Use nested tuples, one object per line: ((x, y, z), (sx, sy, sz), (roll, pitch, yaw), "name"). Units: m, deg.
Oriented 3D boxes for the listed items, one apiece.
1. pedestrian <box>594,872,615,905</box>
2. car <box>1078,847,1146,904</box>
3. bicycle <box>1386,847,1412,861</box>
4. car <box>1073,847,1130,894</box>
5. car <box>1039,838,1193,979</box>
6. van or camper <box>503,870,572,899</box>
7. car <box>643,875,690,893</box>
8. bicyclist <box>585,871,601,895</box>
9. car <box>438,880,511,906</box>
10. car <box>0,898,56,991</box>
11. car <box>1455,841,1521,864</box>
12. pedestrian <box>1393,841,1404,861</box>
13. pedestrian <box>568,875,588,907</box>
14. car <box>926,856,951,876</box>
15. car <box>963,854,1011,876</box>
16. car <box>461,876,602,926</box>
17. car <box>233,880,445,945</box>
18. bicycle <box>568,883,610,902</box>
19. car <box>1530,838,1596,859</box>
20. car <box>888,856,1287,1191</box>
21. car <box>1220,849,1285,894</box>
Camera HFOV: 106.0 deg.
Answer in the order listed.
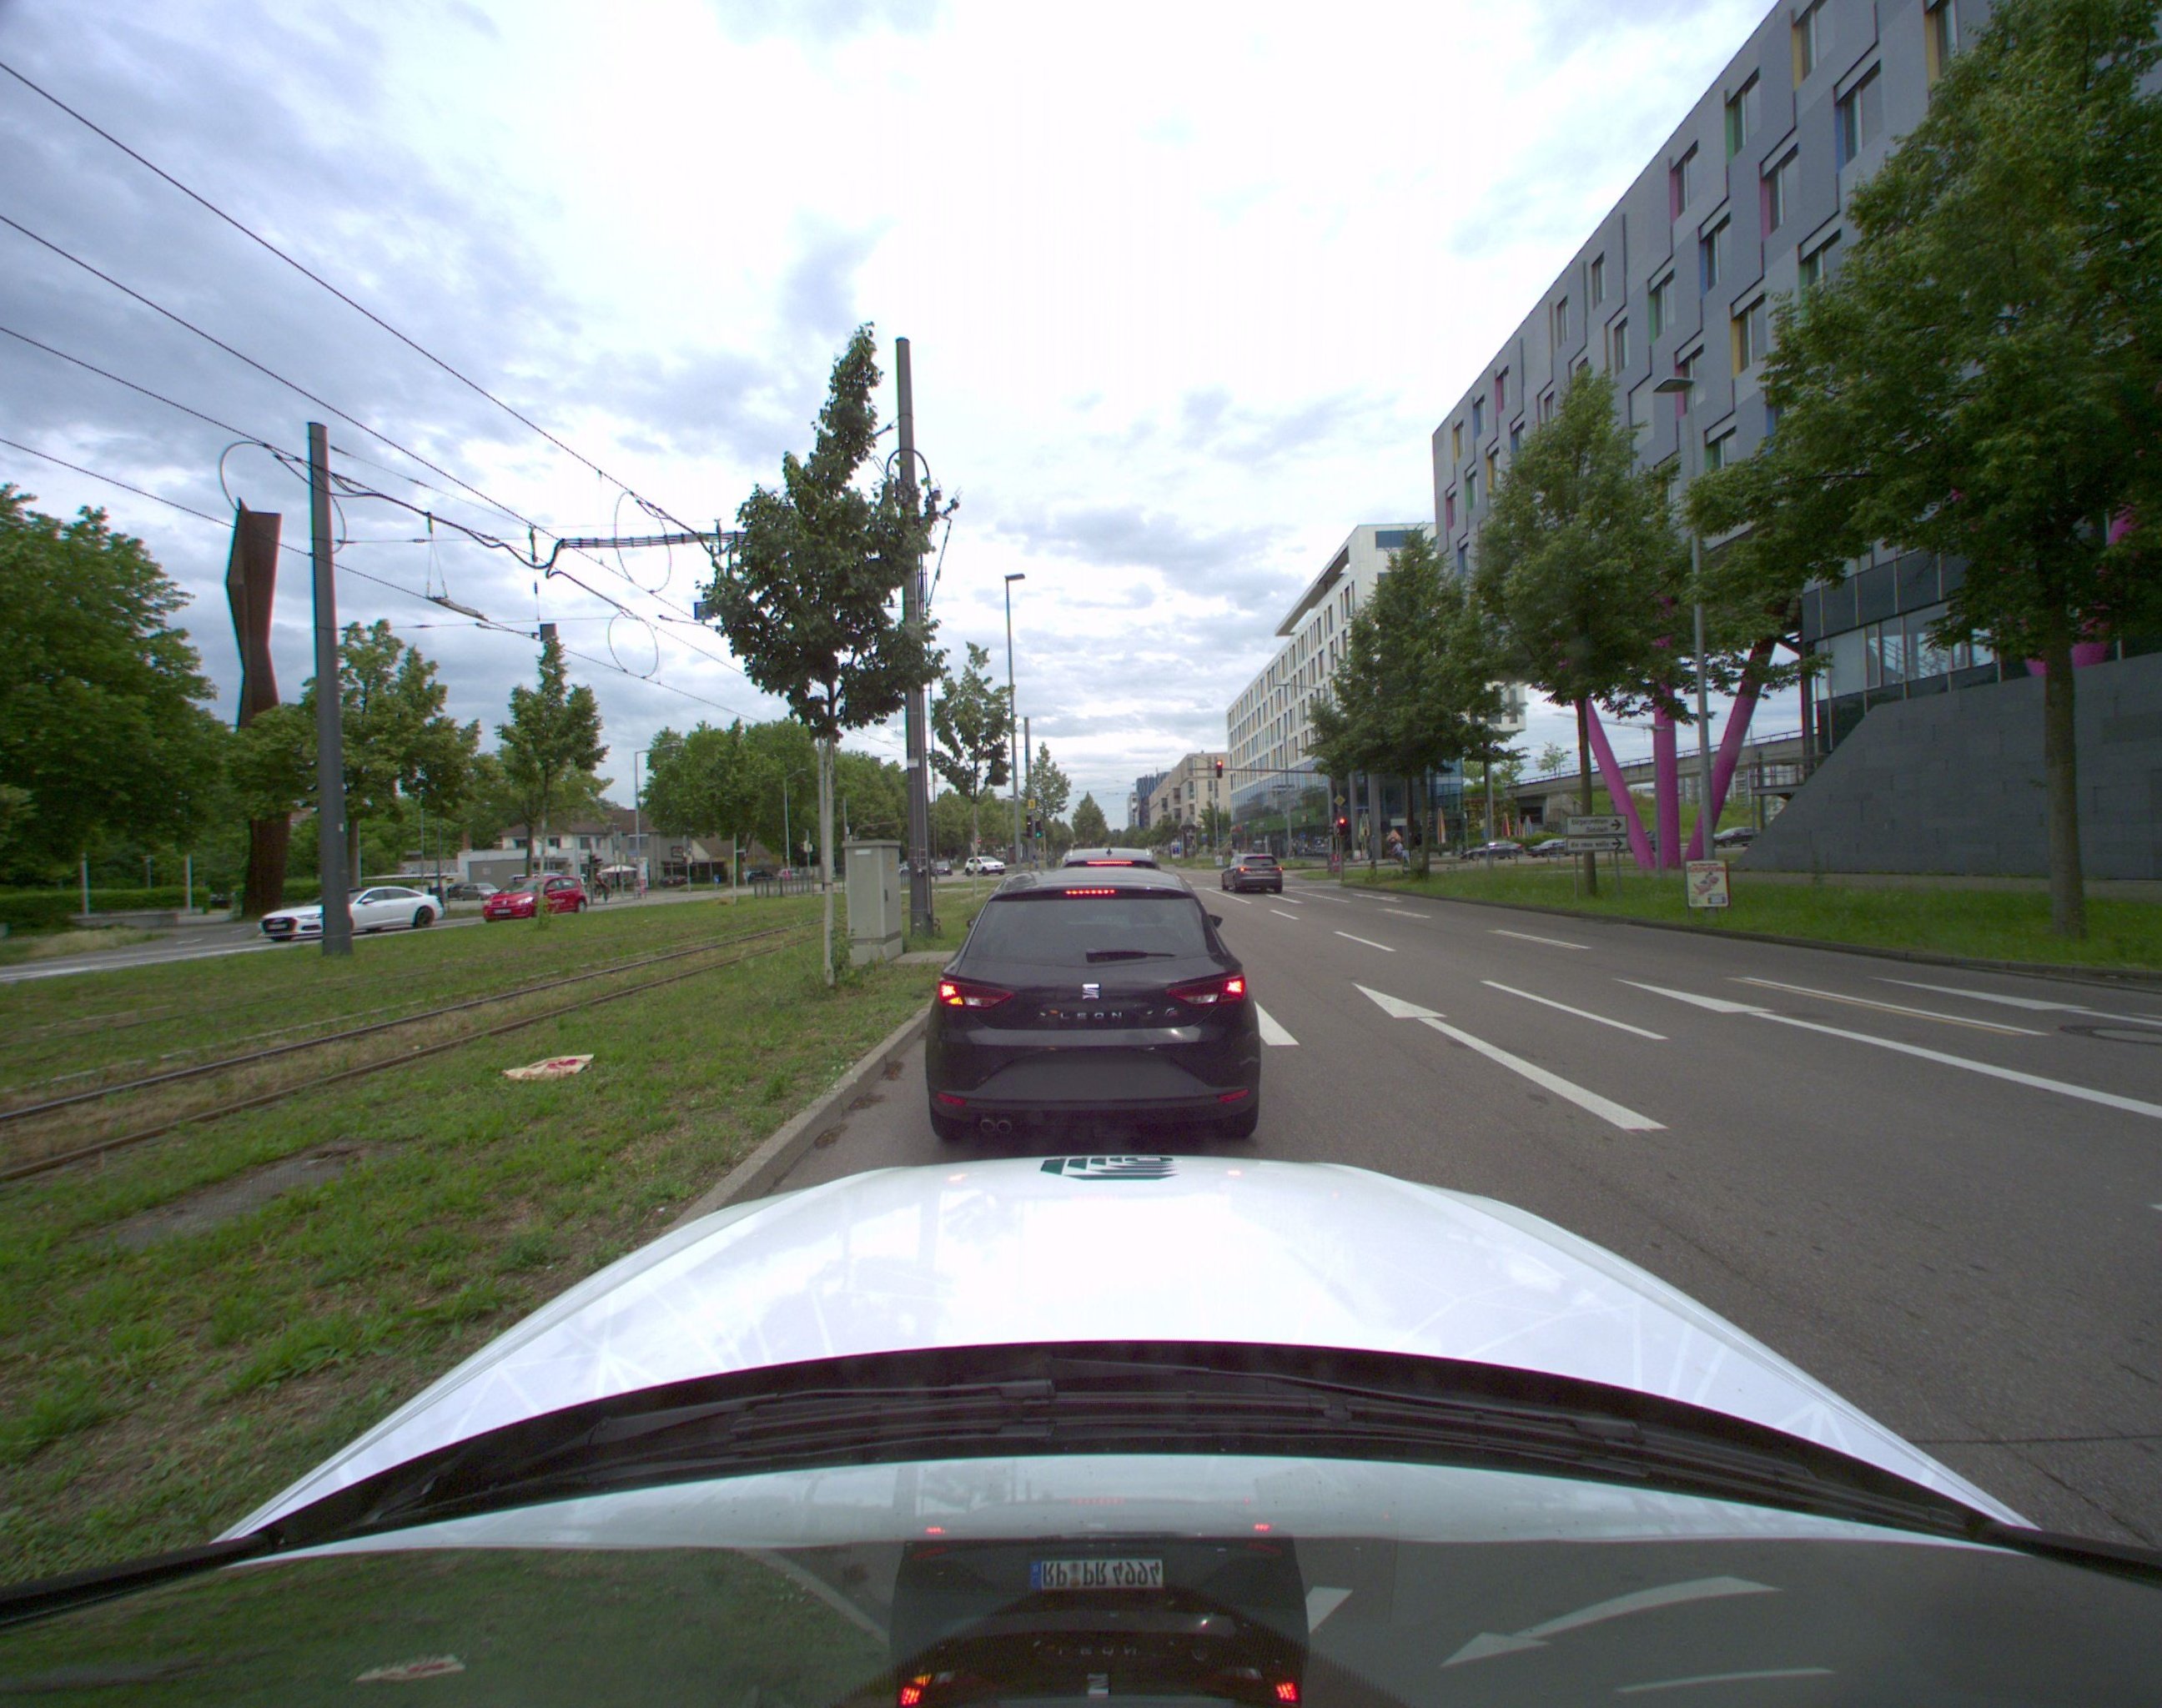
((-27.737, 2.015, 47.410), (0.779, 1.832, 0.771), (-2, 0, -16), "pedestrian")
((1.085, 0.632, 26.180), (1.984, 1.682, 4.005), (-1, 0, 5), "car")
((25.684, -0.002, 65.831), (1.784, 1.085, 0.618), (-2, 0, 3), "bicycle")
((0.855, 0.573, 31.251), (1.985, 1.682, 4.005), (-1, 0, 4), "car")
((0.480, 0.652, 11.799), (1.796, 1.624, 4.002), (-2, 0, 2), "car")
((-41.612, 2.328, 62.313), (5.212, 2.013, 2.481), (-2, 0, 34), "van or camper")
((-47.130, 3.362, 92.694), (4.258, 1.816, 2.111), (-2, 0, 6), "car")
((-35.390, 2.090, 59.068), (0.854, 1.721, 0.715), (-2, 0, -25), "bicyclist")
((-48.308, 3.129, 64.901), (4.258, 1.816, 2.111), (-2, 0, 6), "car")
((-17.288, 1.438, 11.051), (1.799, 1.377, 4.049), (-2, 0, -6), "car")
((31.851, -0.144, 63.848), (4.233, 1.615, 1.759), (-2, 0, 3), "car")
((25.684, -0.267, 65.830), (0.612, 1.604, 0.619), (-2, 0, 4), "pedestrian")
((-32.352, 2.355, 52.374), (0.910, 2.013, 0.942), (-2, 0, -40), "pedestrian")
((-13.796, 1.130, 78.716), (1.997, 1.750, 3.979), (-2, 0, -15), "car")
((-7.894, 0.921, 67.899), (2.010, 1.750, 4.152), (-2, 0, -39), "car")
((-18.581, 1.545, 27.816), (1.805, 1.377, 4.270), (-2, 0, 1), "car")
((-22.728, 1.722, 25.305), (1.805, 1.588, 5.078), (-2, 0, 1), "car")
((-35.601, 2.781, 58.963), (2.520, 1.202, 0.734), (-2, 0, -25), "bicycle")
((37.867, -0.445, 64.025), (4.063, 1.455, 1.759), (-2, 0, 3), "car")
((0.065, 0.750, 5.577), (1.737, 1.417, 4.001), (-1, 0, 1), "car")
((6.548, 0.627, 31.483), (1.741, 1.499, 4.271), (-2, 1, 2), "car")
